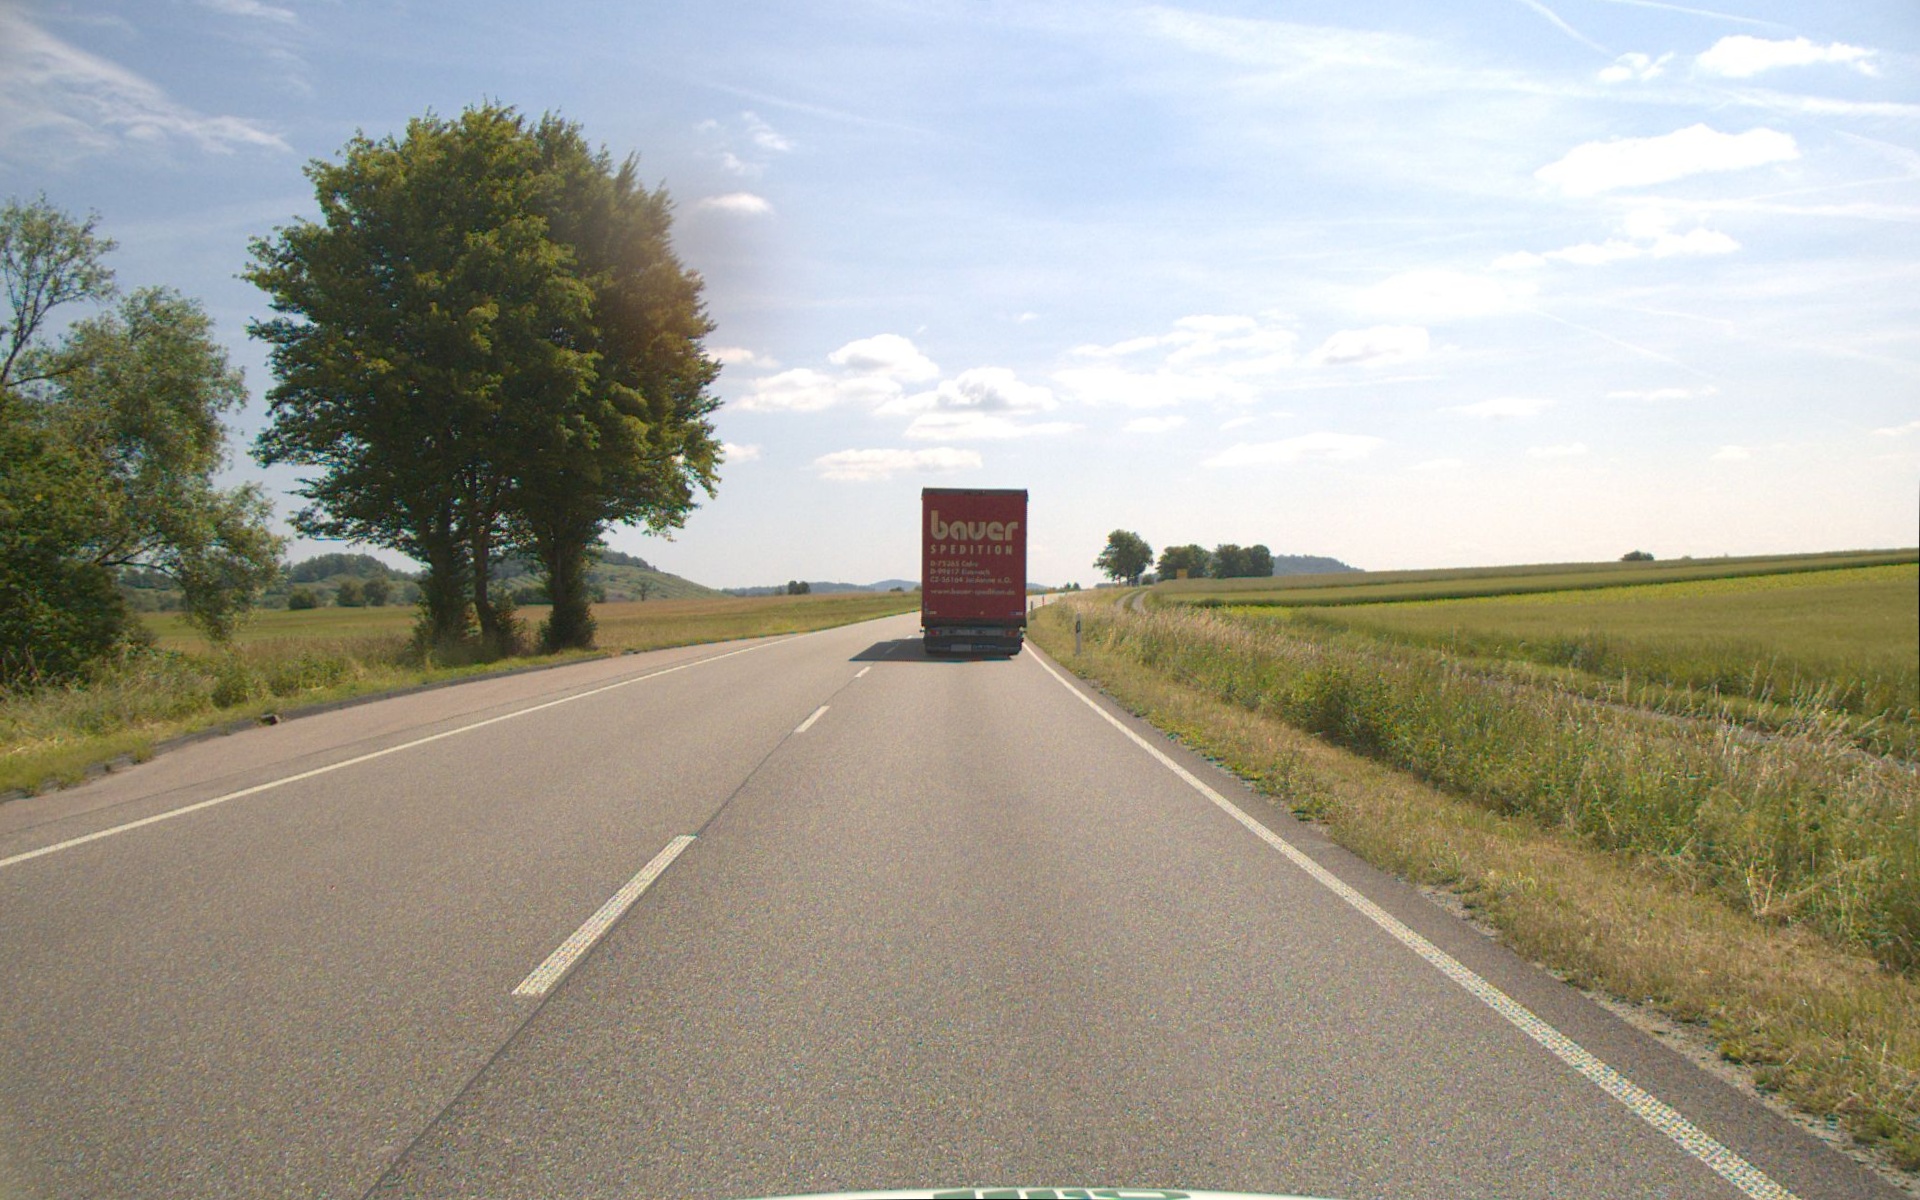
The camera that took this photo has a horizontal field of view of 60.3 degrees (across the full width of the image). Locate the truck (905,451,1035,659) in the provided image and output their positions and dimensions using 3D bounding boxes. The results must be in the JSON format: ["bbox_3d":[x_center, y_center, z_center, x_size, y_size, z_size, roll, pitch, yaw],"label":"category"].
[{"bbox_3d":[0.109,-1.041,43.417,2.915,4.796,9.362,2,0,-2],"label":"truck"}]
